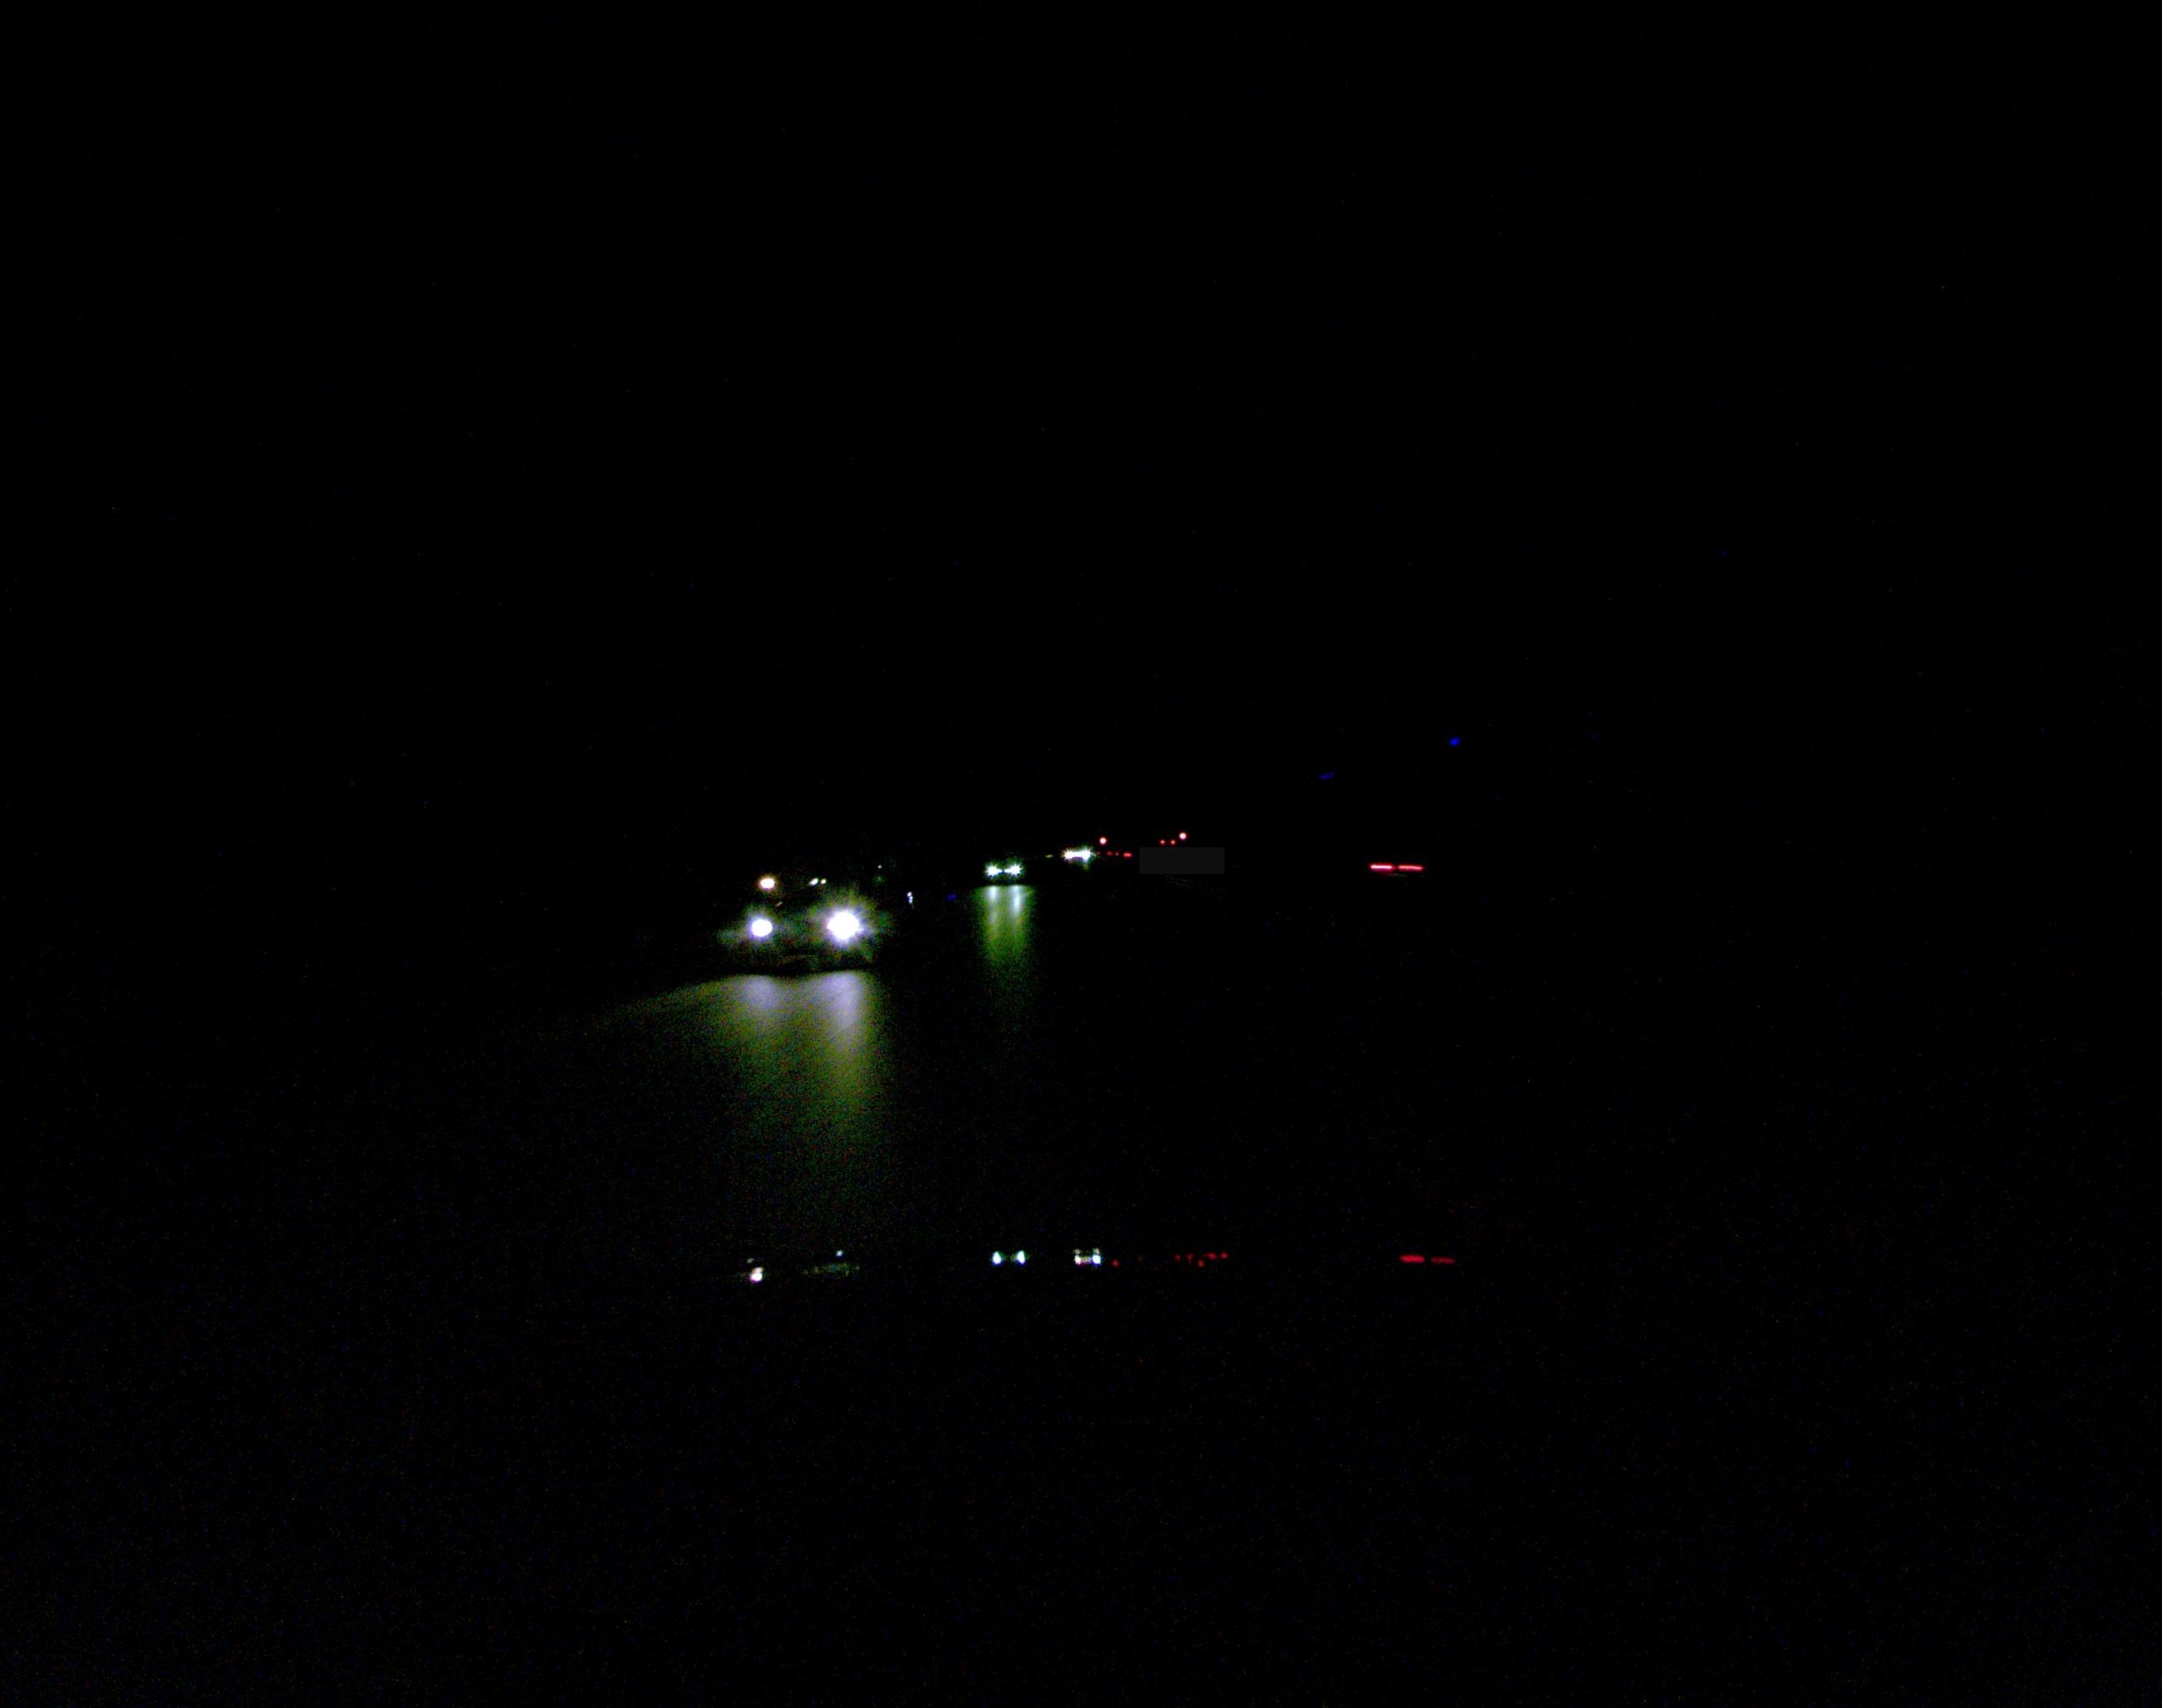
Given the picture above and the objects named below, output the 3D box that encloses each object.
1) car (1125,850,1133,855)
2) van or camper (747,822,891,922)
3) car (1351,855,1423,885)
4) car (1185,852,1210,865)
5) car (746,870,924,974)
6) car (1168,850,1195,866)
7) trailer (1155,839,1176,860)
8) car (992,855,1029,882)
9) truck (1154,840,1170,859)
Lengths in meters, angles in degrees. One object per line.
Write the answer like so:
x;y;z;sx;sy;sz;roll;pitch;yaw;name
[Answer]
14.693;-0.346;233.662;1.999;1.453;4.690;1;1;-2;car
-8.261;0.488;24.892;2.212;2.755;6.804;-2;0;0;van or camper
16.458;0.807;41.168;1.998;1.476;4.800;1;0;1;car
13.205;0.450;86.421;1.998;1.386;5.705;1;0;0;car
-4.059;1.045;13.311;1.690;1.405;4.225;-1;0;1;car
9.758;0.329;73.931;1.998;1.453;4.900;1;0;1;car
17.579;-0.909;159.371;2.867;4.152;13.902;1;1;0;trailer
-4.263;0.854;46.226;1.795;1.532;4.225;-1;0;1;car
17.591;-0.985;165.919;2.761;4.188;5.825;1;1;0;truck
